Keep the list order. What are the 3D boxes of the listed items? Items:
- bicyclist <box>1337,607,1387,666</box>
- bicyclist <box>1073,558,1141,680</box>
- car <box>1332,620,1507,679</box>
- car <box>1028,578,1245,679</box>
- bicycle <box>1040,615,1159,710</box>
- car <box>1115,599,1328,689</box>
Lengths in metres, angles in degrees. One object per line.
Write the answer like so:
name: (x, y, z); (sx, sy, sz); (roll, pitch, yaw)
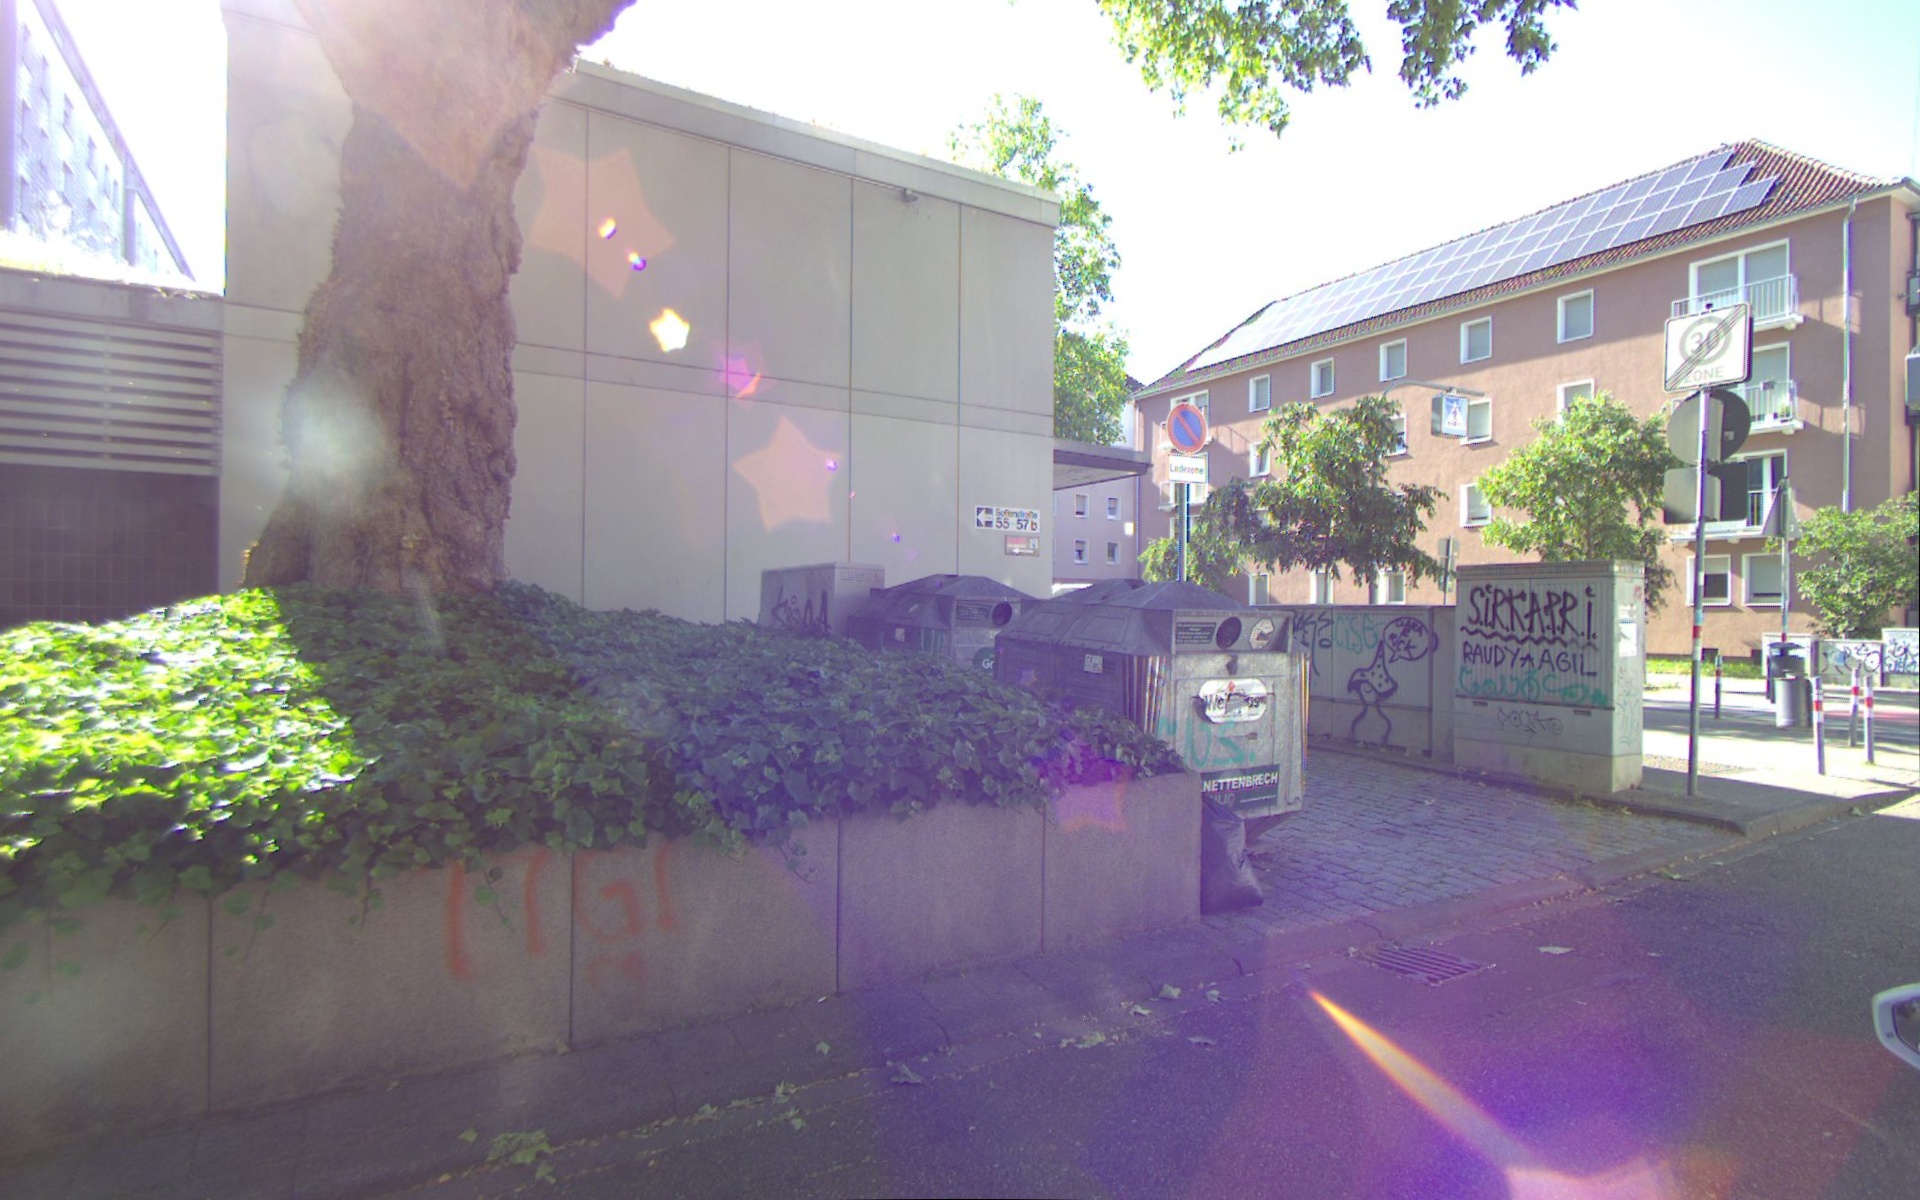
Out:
bicyclist: (10.851, 0.976, 27.121); (0.730, 1.539, 1.037); (1, -1, -30)
bicyclist: (1.991, 0.243, 13.628); (0.694, 1.605, 0.532); (2, 1, 38)
car: (12.399, 1.292, 27.359); (1.726, 1.473, 4.121); (1, -1, -31)
car: (3.987, 0.686, 22.396); (4.695, 2.032, 1.942); (3, -2, -33)
bicycle: (1.910, 0.805, 13.590); (0.793, 1.168, 1.710); (2, 1, 39)
car: (5.324, 0.850, 20.279); (4.256, 1.634, 1.743); (1, -1, -32)
